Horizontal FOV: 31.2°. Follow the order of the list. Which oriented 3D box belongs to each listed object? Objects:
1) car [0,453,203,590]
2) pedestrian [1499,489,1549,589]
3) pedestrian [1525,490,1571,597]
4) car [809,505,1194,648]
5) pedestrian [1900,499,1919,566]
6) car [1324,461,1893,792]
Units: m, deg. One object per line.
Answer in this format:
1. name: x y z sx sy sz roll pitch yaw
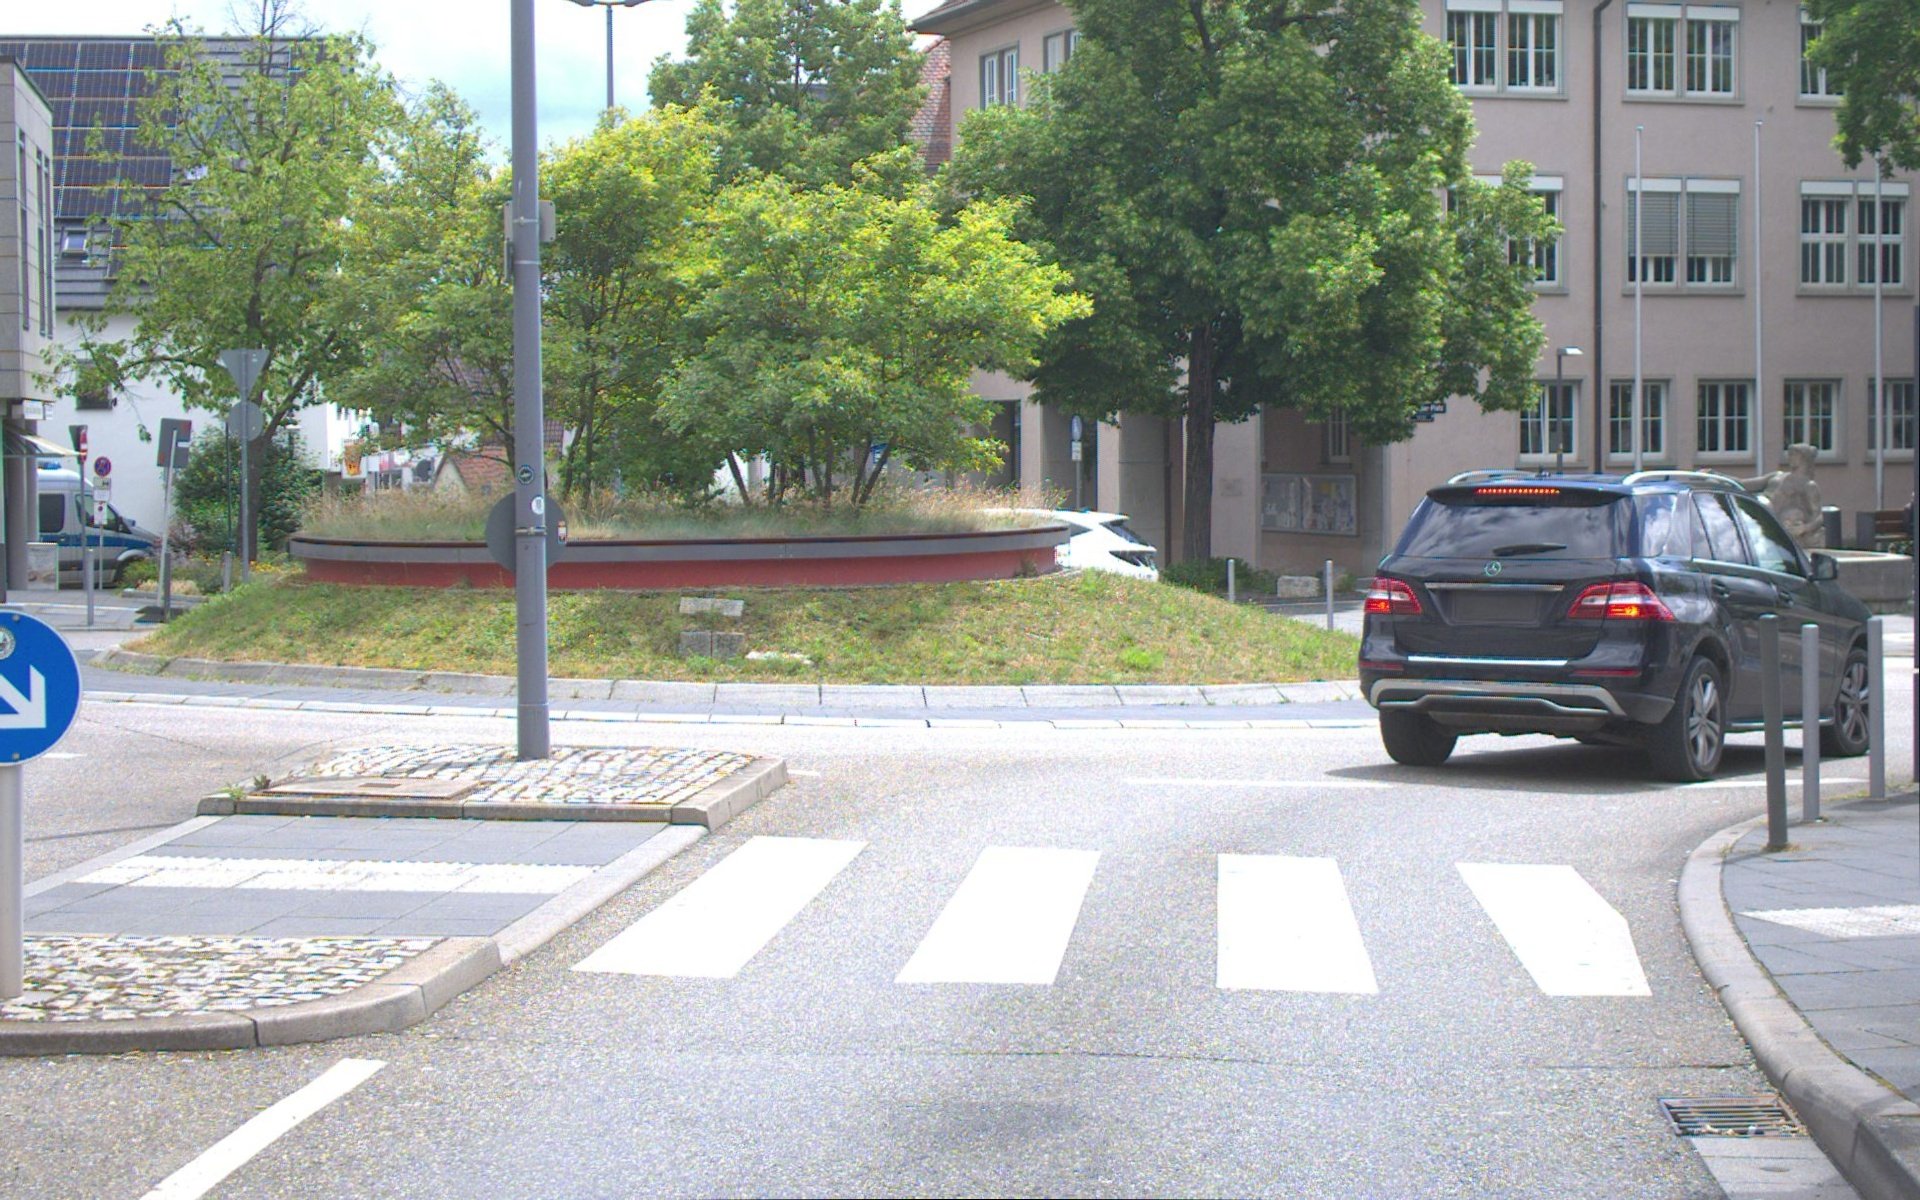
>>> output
1. car: -18.499 -1.568 68.565 6.283 2.551 2.206 1 -2 -25
2. pedestrian: 8.818 -0.953 53.753 0.636 1.518 0.577 1 5 -1
3. pedestrian: 9.078 -0.878 53.113 0.572 1.603 0.438 1 5 -1
4. car: 0.517 -0.286 40.703 4.257 1.571 1.848 -1 1 11
5. pedestrian: 17.083 -1.207 61.232 0.487 1.178 0.580 2 2 31
6. car: 4.077 0.048 21.018 2.031 1.721 4.426 2 4 30
